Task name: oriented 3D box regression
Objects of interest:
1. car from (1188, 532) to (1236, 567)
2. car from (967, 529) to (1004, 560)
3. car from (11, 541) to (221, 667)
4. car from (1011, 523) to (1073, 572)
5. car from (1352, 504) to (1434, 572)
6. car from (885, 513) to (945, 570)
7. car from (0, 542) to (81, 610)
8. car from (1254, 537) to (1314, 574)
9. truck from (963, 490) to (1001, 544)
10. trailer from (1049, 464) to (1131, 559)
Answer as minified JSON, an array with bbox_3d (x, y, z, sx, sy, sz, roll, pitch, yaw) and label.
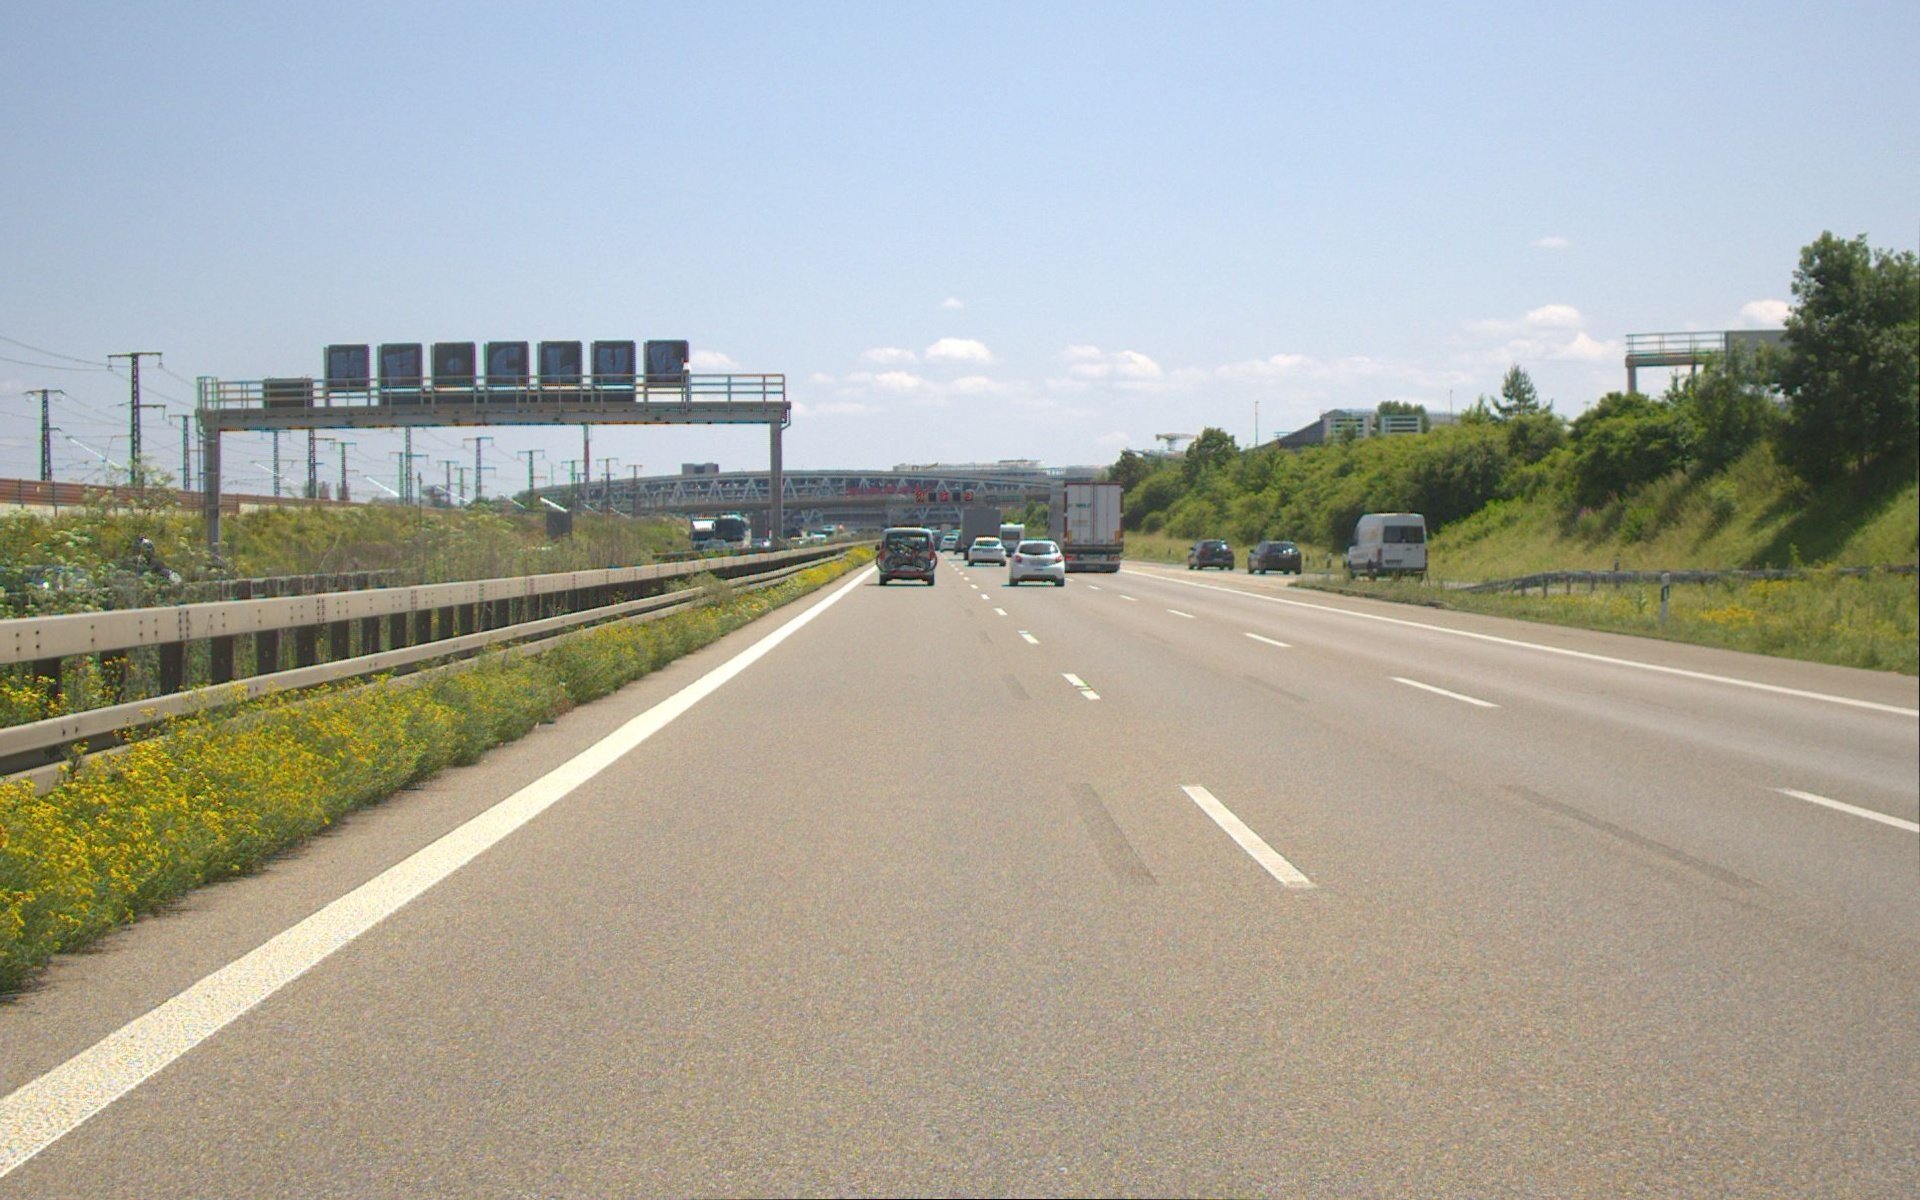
[{"bbox_3d":[12.442,-2.479,170.137,1.993,1.590,4.000,2,0,-1],"label":"car"},{"bbox_3d":[1.324,-2.842,177.298,1.881,1.521,4.000,1,0,1],"label":"car"},{"bbox_3d":[-10.328,0.014,42.310,1.645,1.474,3.814,0,1,0],"label":"car"},{"bbox_3d":[2.652,-1.681,110.491,1.881,1.521,4.000,1,0,2],"label":"car"},{"bbox_3d":[16.452,-2.380,130.793,2.274,2.519,5.400,0,1,-1],"label":"car"},{"bbox_3d":[-1.417,-1.854,109.591,1.881,1.769,4.000,0,0,0],"label":"car"},{"bbox_3d":[-21.798,-0.573,79.973,1.720,1.539,3.809,0,1,0],"label":"car"},{"bbox_3d":[14.115,-1.932,149.848,1.993,1.503,4.000,2,0,-3],"label":"car"},{"bbox_3d":[1.405,-5.317,219.847,2.355,3.404,6.057,0,1,0],"label":"truck"},{"bbox_3d":[5.734,-3.901,152.805,3.177,4.045,9.440,-1,1,0],"label":"trailer"}]
